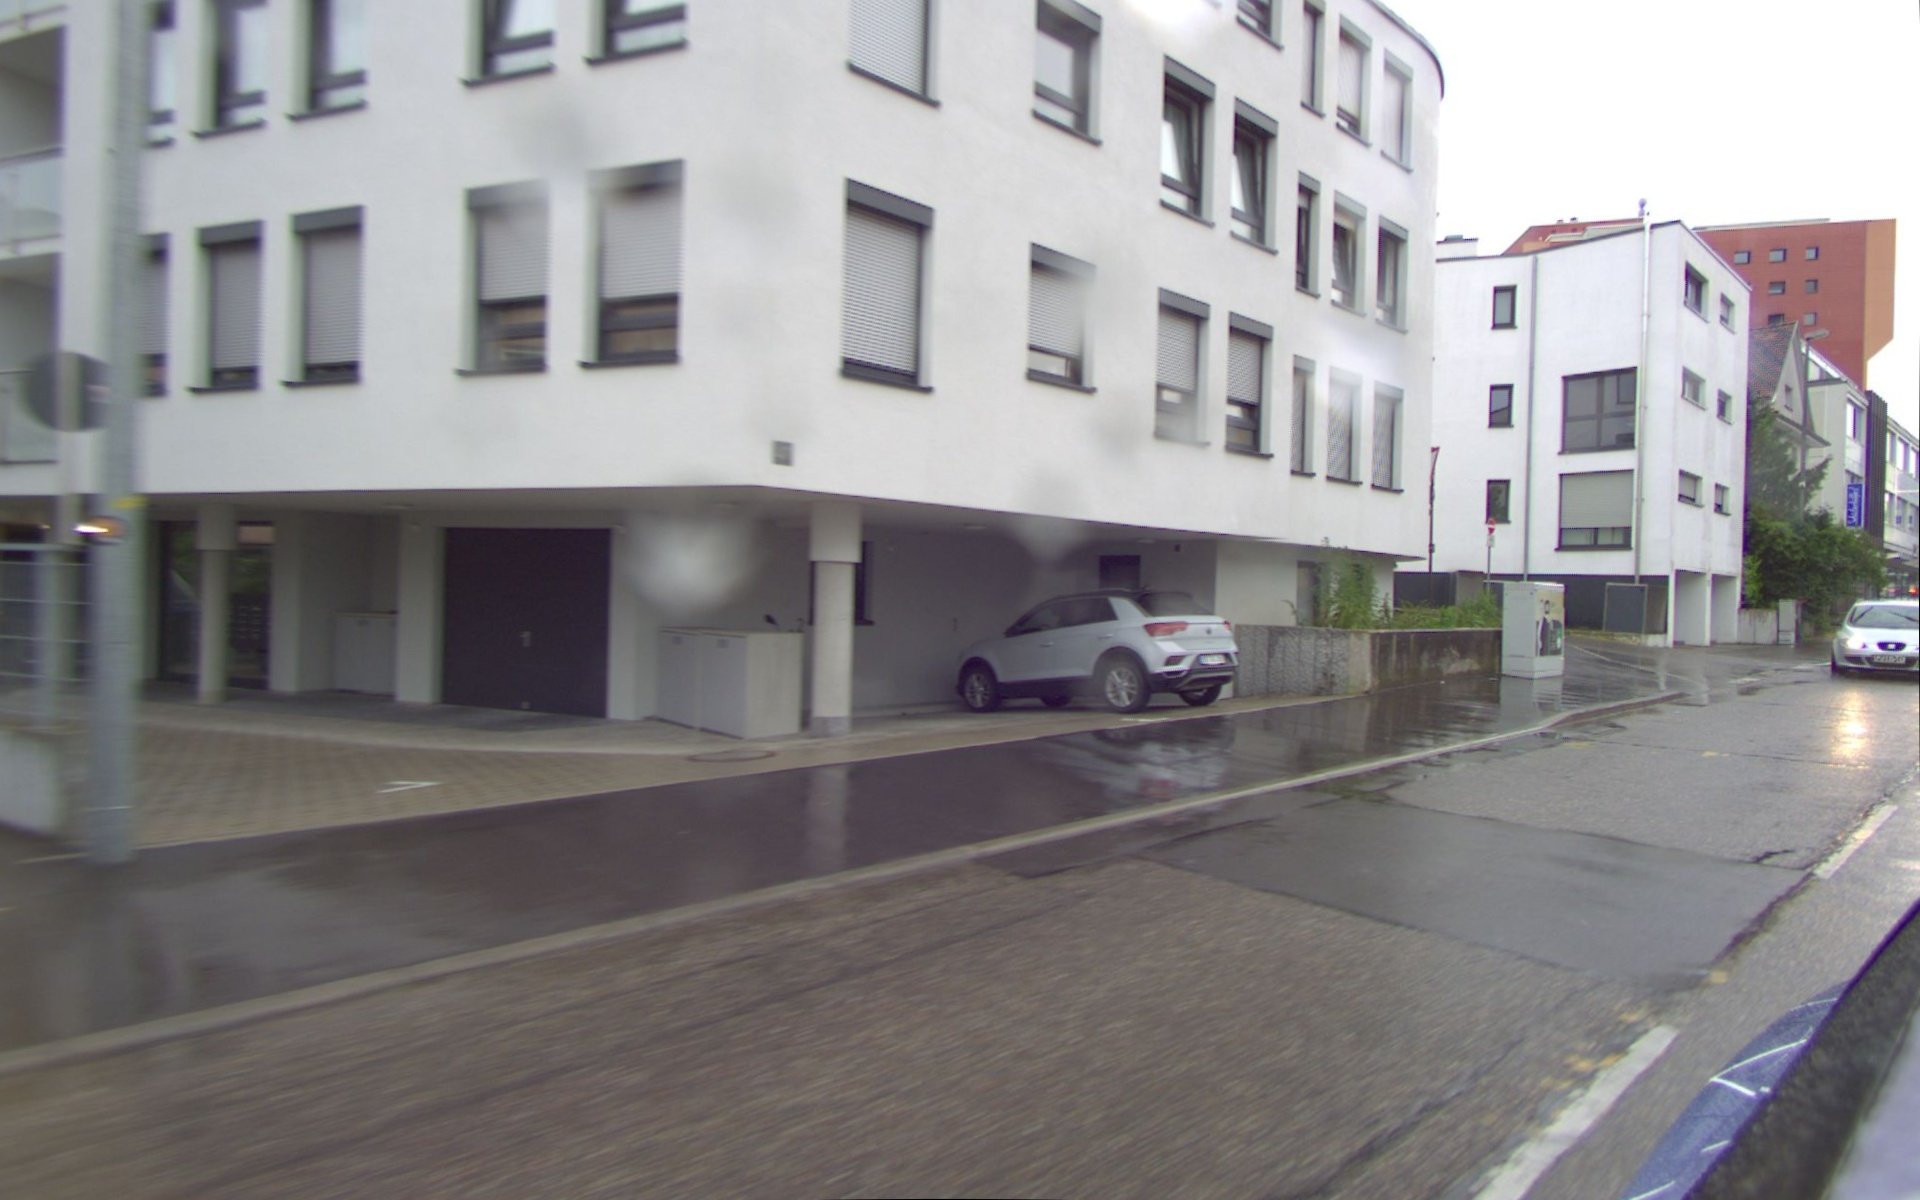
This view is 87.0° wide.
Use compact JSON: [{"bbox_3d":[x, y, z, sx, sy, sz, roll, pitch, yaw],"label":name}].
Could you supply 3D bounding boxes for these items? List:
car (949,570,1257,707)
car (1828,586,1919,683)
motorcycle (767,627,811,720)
[{"bbox_3d":[1.788,0.588,13.583,1.788,1.550,3.795,1,-5,-41],"label":"car"},{"bbox_3d":[19.155,0.626,20.474,4.289,1.641,2.013,-3,3,-43],"label":"car"},{"bbox_3d":[-2.146,0.913,12.608,0.436,1.086,1.448,0,-5,-13],"label":"motorcycle"}]
